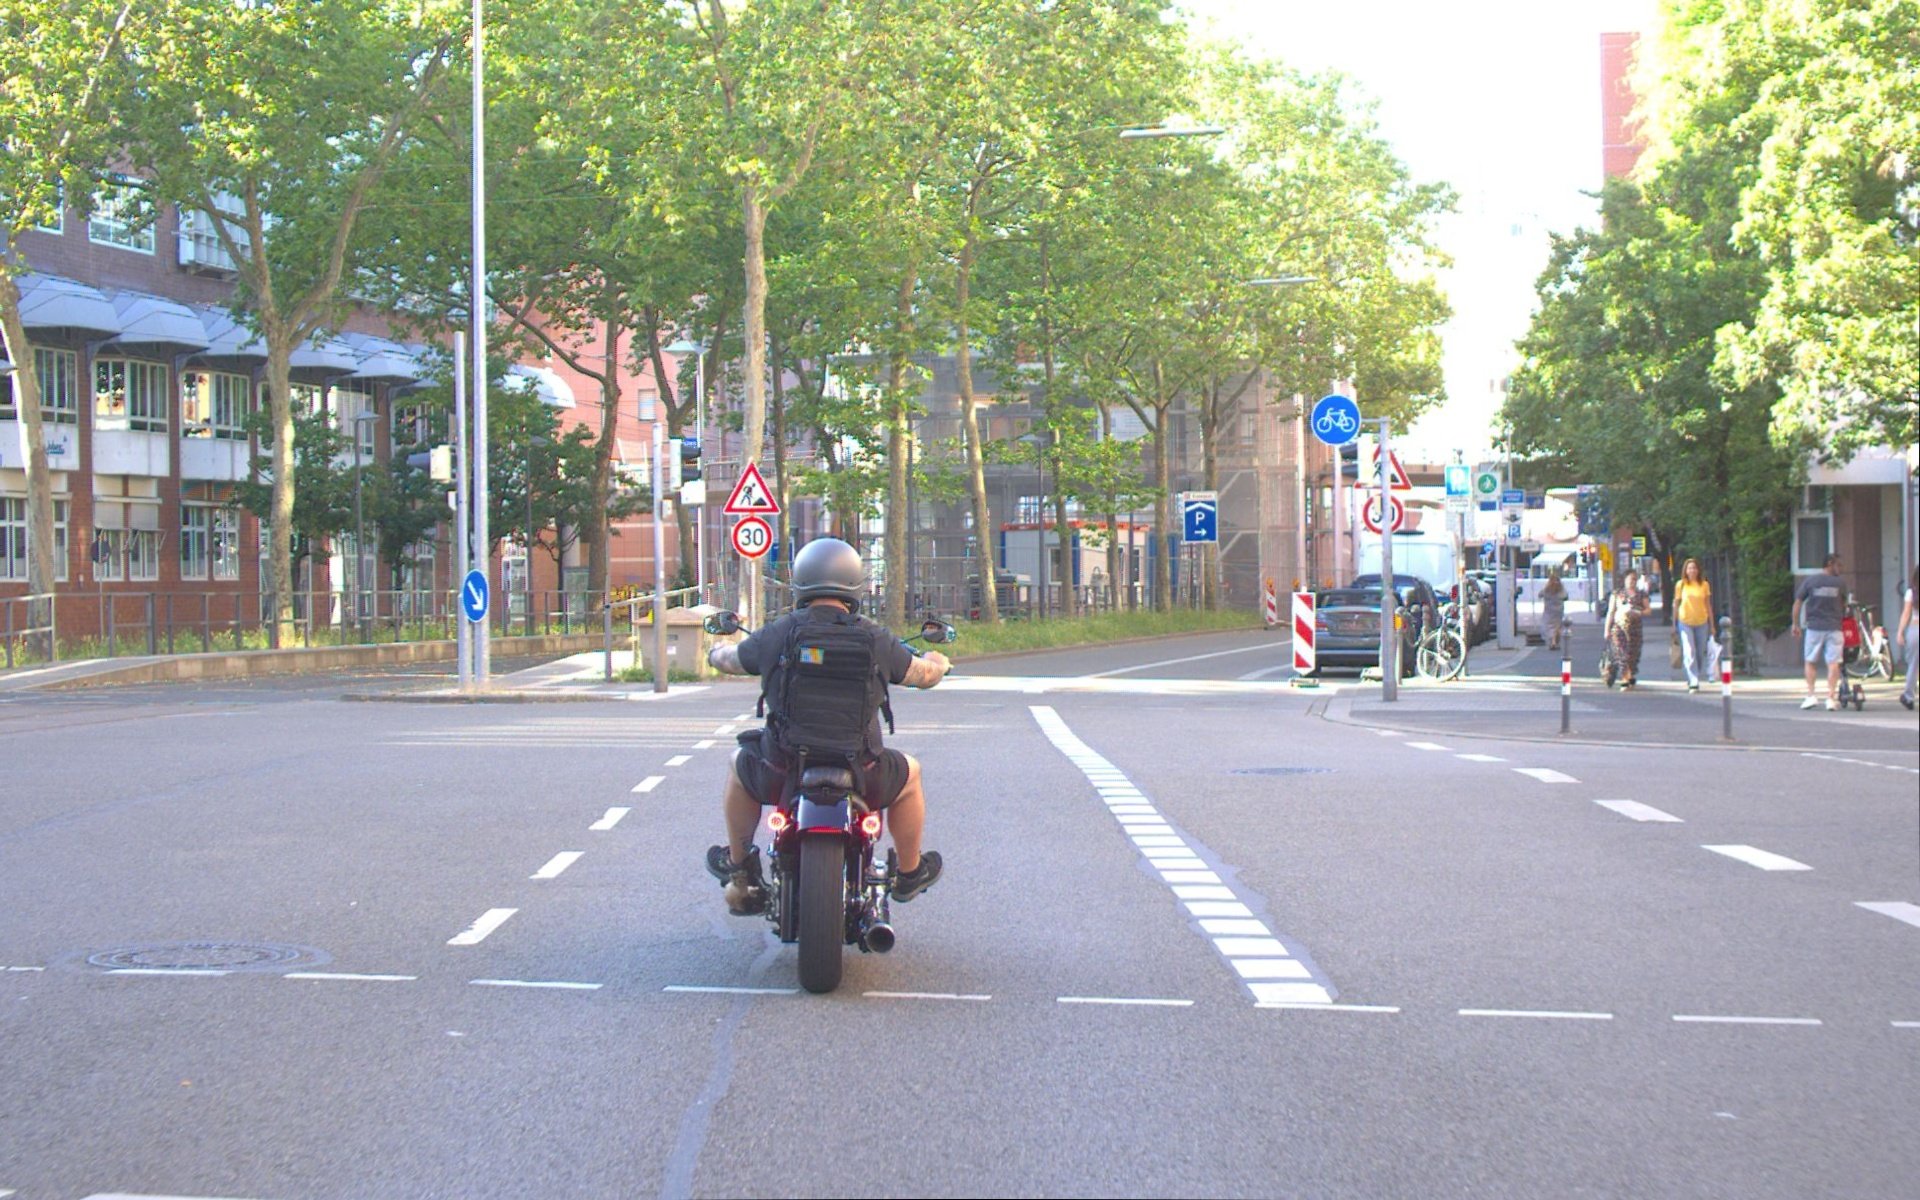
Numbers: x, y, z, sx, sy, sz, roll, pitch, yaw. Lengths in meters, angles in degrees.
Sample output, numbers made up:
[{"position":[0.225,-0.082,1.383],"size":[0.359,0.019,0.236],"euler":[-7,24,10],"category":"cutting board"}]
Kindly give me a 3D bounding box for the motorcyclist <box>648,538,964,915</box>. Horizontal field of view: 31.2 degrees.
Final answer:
[{"position":[-0.531,0.428,12.198],"size":[1.012,1.258,0.774],"euler":[2,1,3],"category":"motorcyclist"}]

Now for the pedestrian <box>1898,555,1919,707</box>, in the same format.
[{"position":[10.655,0.334,37.876],"size":[0.459,1.667,0.680],"euler":[-1,0,1],"category":"pedestrian"}]

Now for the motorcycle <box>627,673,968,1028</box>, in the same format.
[{"position":[-0.533,0.844,12.300],"size":[1.018,1.093,2.007],"euler":[0,1,3],"category":"motorcycle"}]

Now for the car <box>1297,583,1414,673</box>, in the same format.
[{"position":[6.090,0.405,52.628],"size":[1.621,1.298,4.310],"euler":[0,0,9],"category":"car"}]

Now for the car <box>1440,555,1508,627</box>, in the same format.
[{"position":[14.749,-0.271,98.496],"size":[1.836,2.007,4.386],"euler":[0,0,9],"category":"car"}]

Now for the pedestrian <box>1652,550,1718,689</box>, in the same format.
[{"position":[9.136,0.242,43.324],"size":[0.700,1.727,0.767],"euler":[0,0,4],"category":"pedestrian"}]

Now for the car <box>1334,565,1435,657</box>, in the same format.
[{"position":[7.762,0.179,62.576],"size":[1.621,1.614,4.483],"euler":[0,0,10],"category":"car"}]

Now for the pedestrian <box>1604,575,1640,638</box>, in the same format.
[{"position":[15.206,0.155,78.935],"size":[0.765,1.440,0.780],"euler":[1,0,9],"category":"pedestrian"}]

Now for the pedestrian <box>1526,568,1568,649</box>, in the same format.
[{"position":[11.948,0.180,70.017],"size":[0.762,1.639,0.547],"euler":[0,0,3],"category":"pedestrian"}]

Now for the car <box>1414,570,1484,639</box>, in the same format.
[{"position":[11.675,0.086,82.086],"size":[1.621,1.604,3.773],"euler":[0,0,8],"category":"car"}]

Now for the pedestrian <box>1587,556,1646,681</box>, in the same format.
[{"position":[8.331,0.232,43.659],"size":[0.644,1.573,0.748],"euler":[0,0,4],"category":"pedestrian"}]

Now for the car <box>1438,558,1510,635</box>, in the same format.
[{"position":[13.837,-0.119,92.424],"size":[1.836,2.007,4.386],"euler":[0,0,9],"category":"car"}]

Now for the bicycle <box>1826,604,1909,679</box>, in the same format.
[{"position":[11.844,0.536,44.910],"size":[0.737,0.936,1.752],"euler":[0,1,4],"category":"bicycle"}]

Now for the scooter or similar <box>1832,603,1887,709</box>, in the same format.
[{"position":[10.065,0.613,38.494],"size":[0.394,1.154,1.249],"euler":[0,0,6],"category":"scooter or similar"}]

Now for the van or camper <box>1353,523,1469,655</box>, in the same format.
[{"position":[9.126,-0.225,69.234],"size":[2.049,2.532,5.770],"euler":[0,0,10],"category":"van or camper"}]

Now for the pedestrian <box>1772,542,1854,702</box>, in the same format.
[{"position":[9.507,0.243,38.328],"size":[0.786,1.757,0.610],"euler":[0,0,6],"category":"pedestrian"}]

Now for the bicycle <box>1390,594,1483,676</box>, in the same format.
[{"position":[6.326,0.454,45.722],"size":[0.737,1.049,1.752],"euler":[0,1,-9],"category":"bicycle"}]
